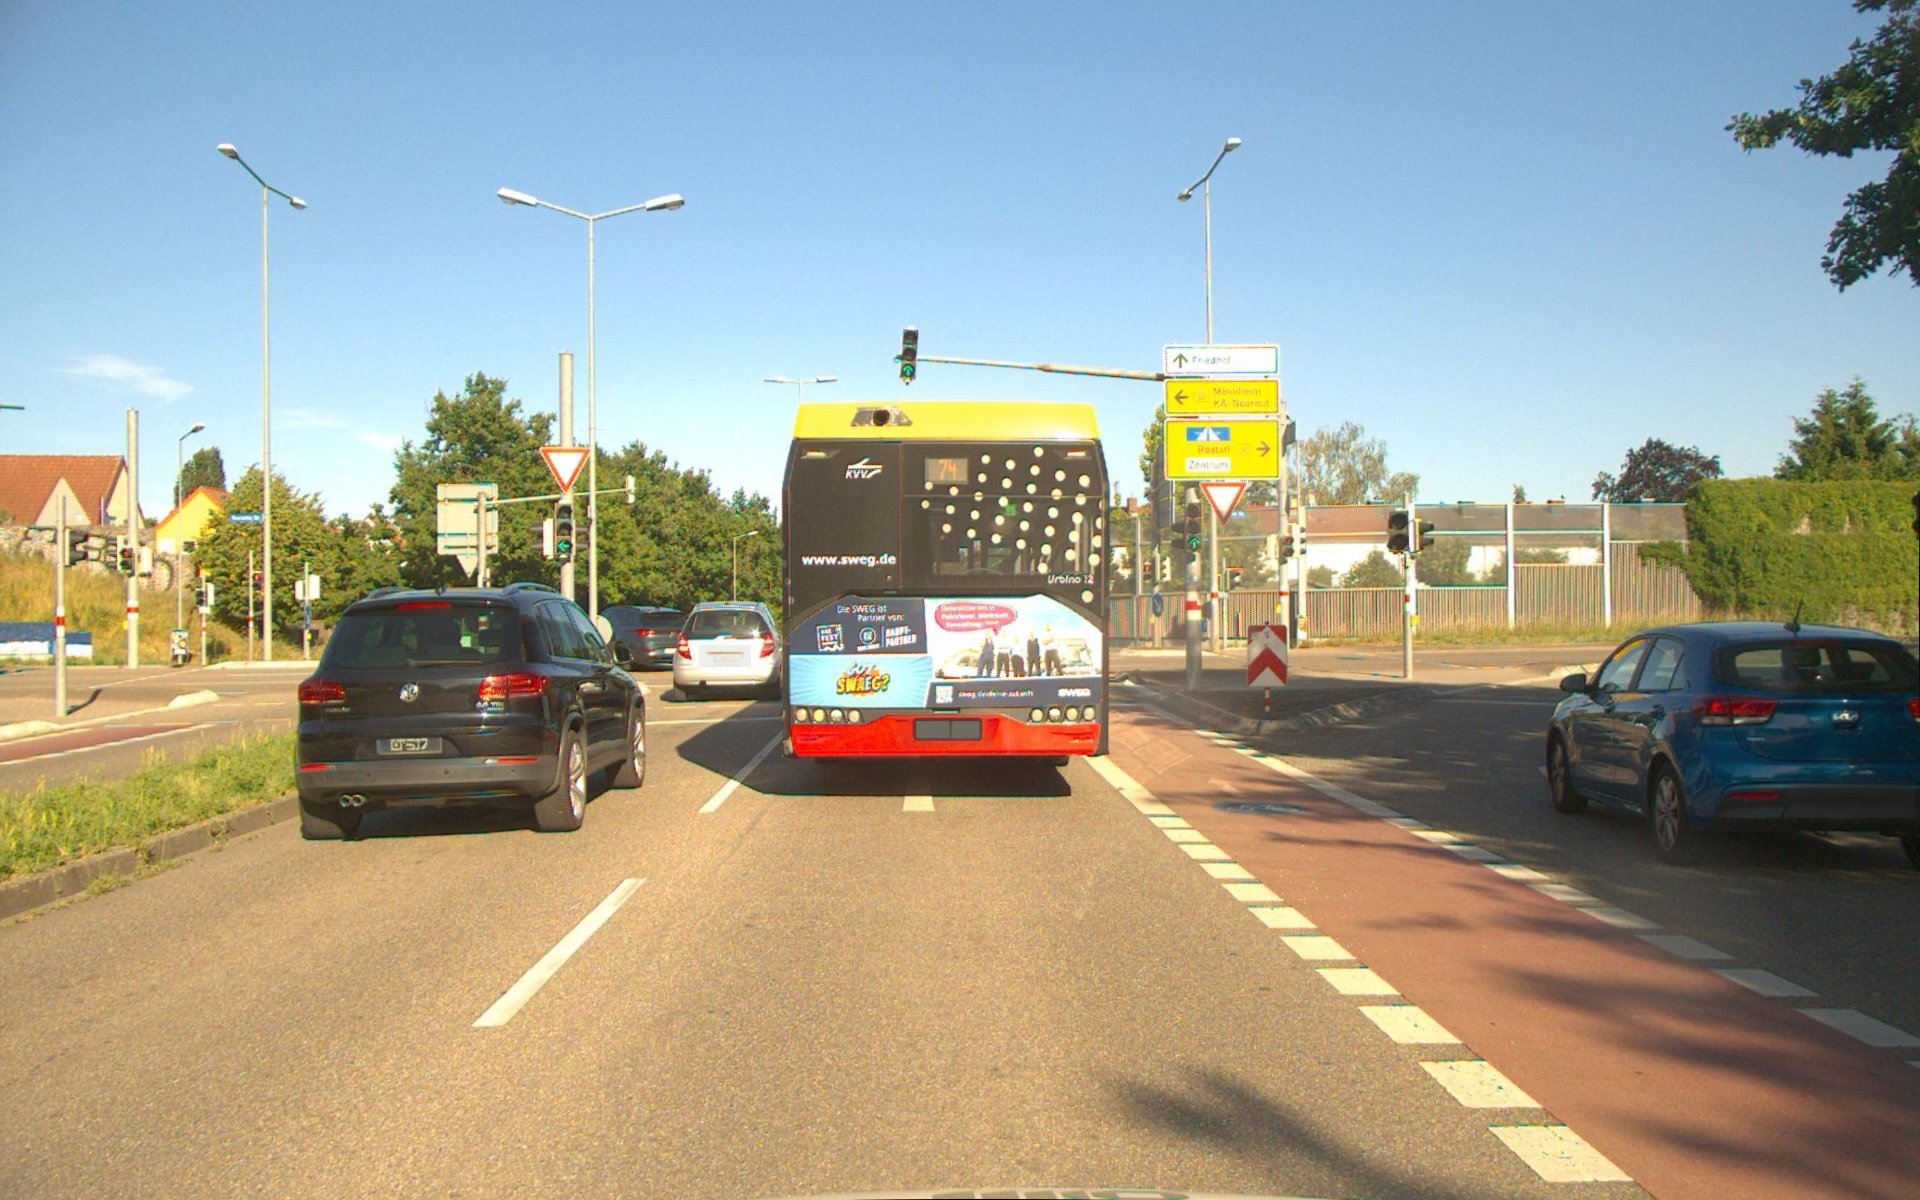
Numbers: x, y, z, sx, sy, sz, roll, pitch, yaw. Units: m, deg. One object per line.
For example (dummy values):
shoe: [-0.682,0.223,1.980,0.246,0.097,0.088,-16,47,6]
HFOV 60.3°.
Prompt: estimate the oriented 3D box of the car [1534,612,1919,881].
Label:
car: [5.234,0.835,11.264,1.614,1.494,3.943,1,0,6]

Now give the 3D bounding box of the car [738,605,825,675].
car: [-4.092,0.888,38.445,1.658,1.484,3.749,-2,0,-1]

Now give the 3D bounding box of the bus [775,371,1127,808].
bus: [-0.108,-0.081,18.220,2.589,3.222,11.859,0,0,0]

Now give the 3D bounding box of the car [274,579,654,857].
car: [-3.481,0.749,12.392,1.736,1.682,3.998,-2,0,-2]

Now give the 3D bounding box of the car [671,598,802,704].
car: [-3.705,0.816,28.047,1.725,1.617,3.999,-2,0,-1]
